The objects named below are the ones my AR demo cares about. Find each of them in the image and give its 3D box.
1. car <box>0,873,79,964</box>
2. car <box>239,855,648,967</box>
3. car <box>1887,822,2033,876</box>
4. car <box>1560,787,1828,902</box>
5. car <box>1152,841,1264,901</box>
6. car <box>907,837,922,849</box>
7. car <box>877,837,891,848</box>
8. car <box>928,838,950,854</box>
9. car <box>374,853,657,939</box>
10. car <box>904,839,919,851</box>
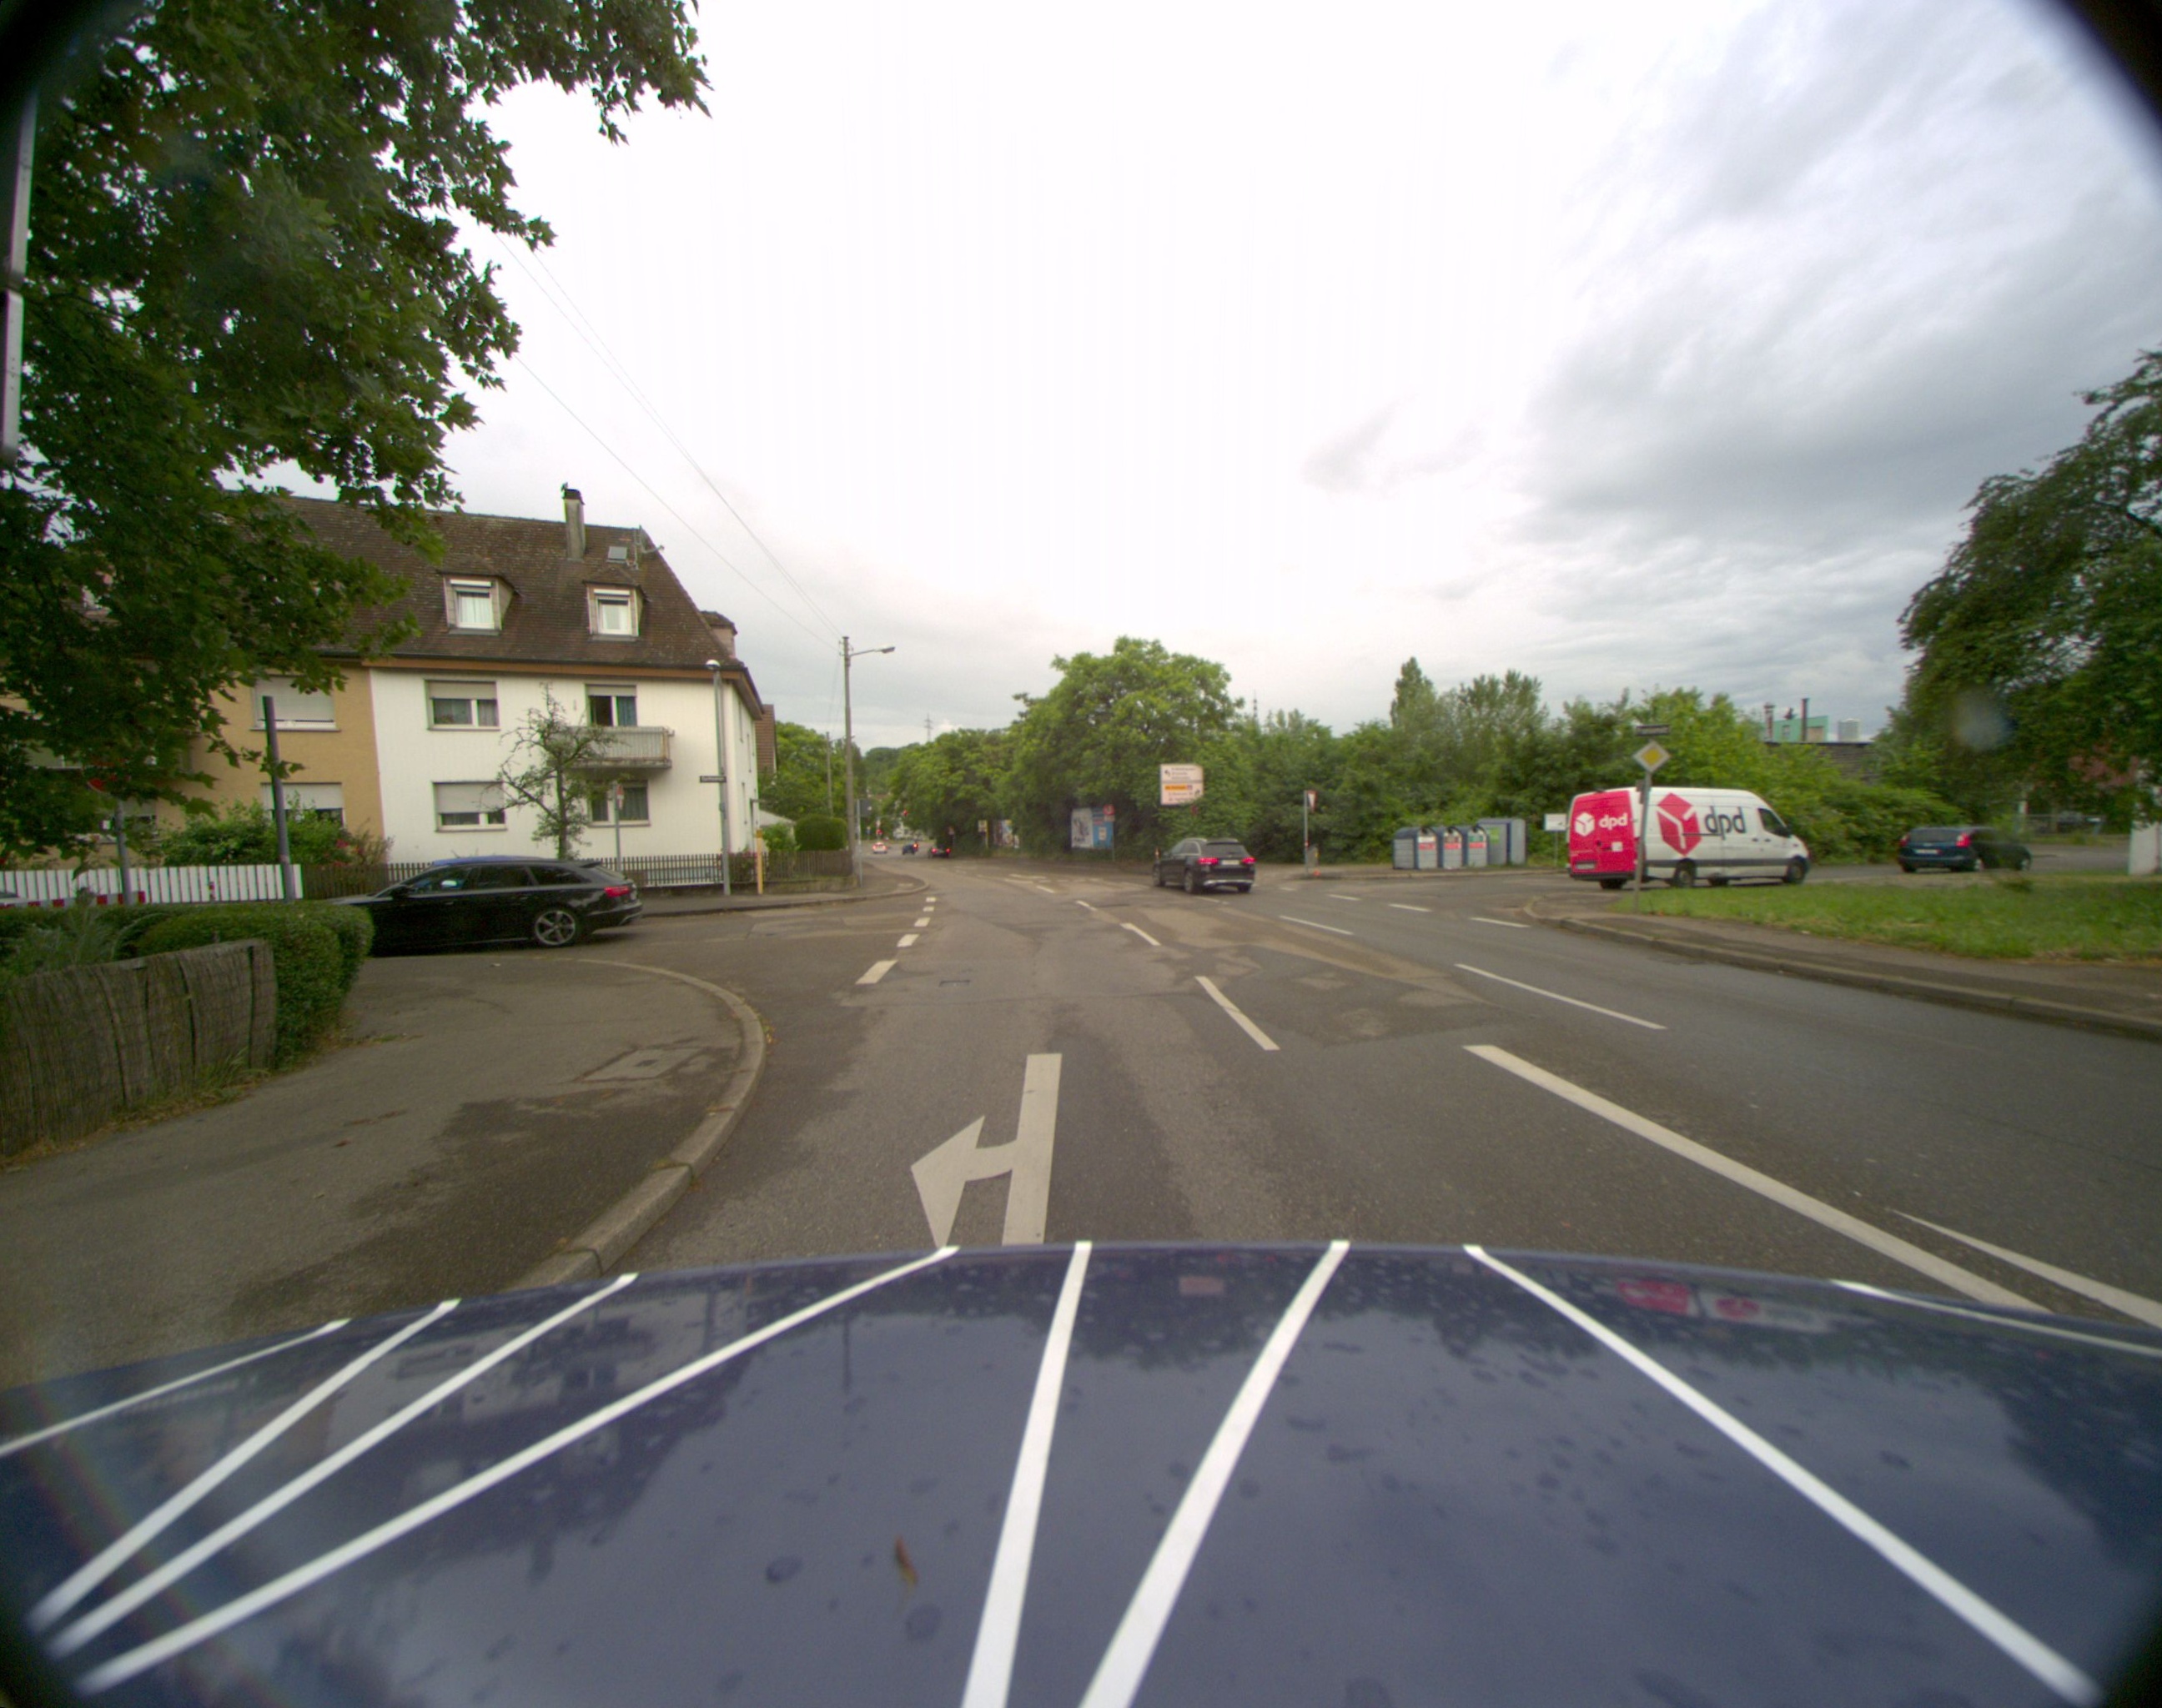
[{"bbox_3d":[-19.479,1.120,12.142,3.788,1.445,1.769,-2,1,-20],"label":"car"},{"bbox_3d":[-10.063,0.812,12.597,4.824,1.472,1.882,-1,1,-24],"label":"car"},{"bbox_3d":[30.136,-0.207,26.056,4.257,1.620,1.996,-3,2,-22],"label":"car"},{"bbox_3d":[16.158,-0.350,20.013,6.829,2.641,2.258,-2,2,-20],"label":"car"},{"bbox_3d":[3.738,0.445,23.241,1.921,1.617,4.429,-2,1,-11],"label":"car"},{"bbox_3d":[-27.830,-1.845,126.679,1.965,1.920,4.675,-2,1,-17],"label":"car"},{"bbox_3d":[-30.464,-1.800,117.657,1.838,1.570,4.326,-3,2,-17],"label":"car"},{"bbox_3d":[-14.909,-0.861,79.582,1.849,1.560,4.406,-2,1,-15],"label":"car"},{"bbox_3d":[-11.130,0.761,15.336,4.130,1.472,1.883,-1,1,-17],"label":"car"},{"bbox_3d":[-23.445,-1.236,105.147,1.604,1.418,3.688,0,4,-20],"label":"car"}]
